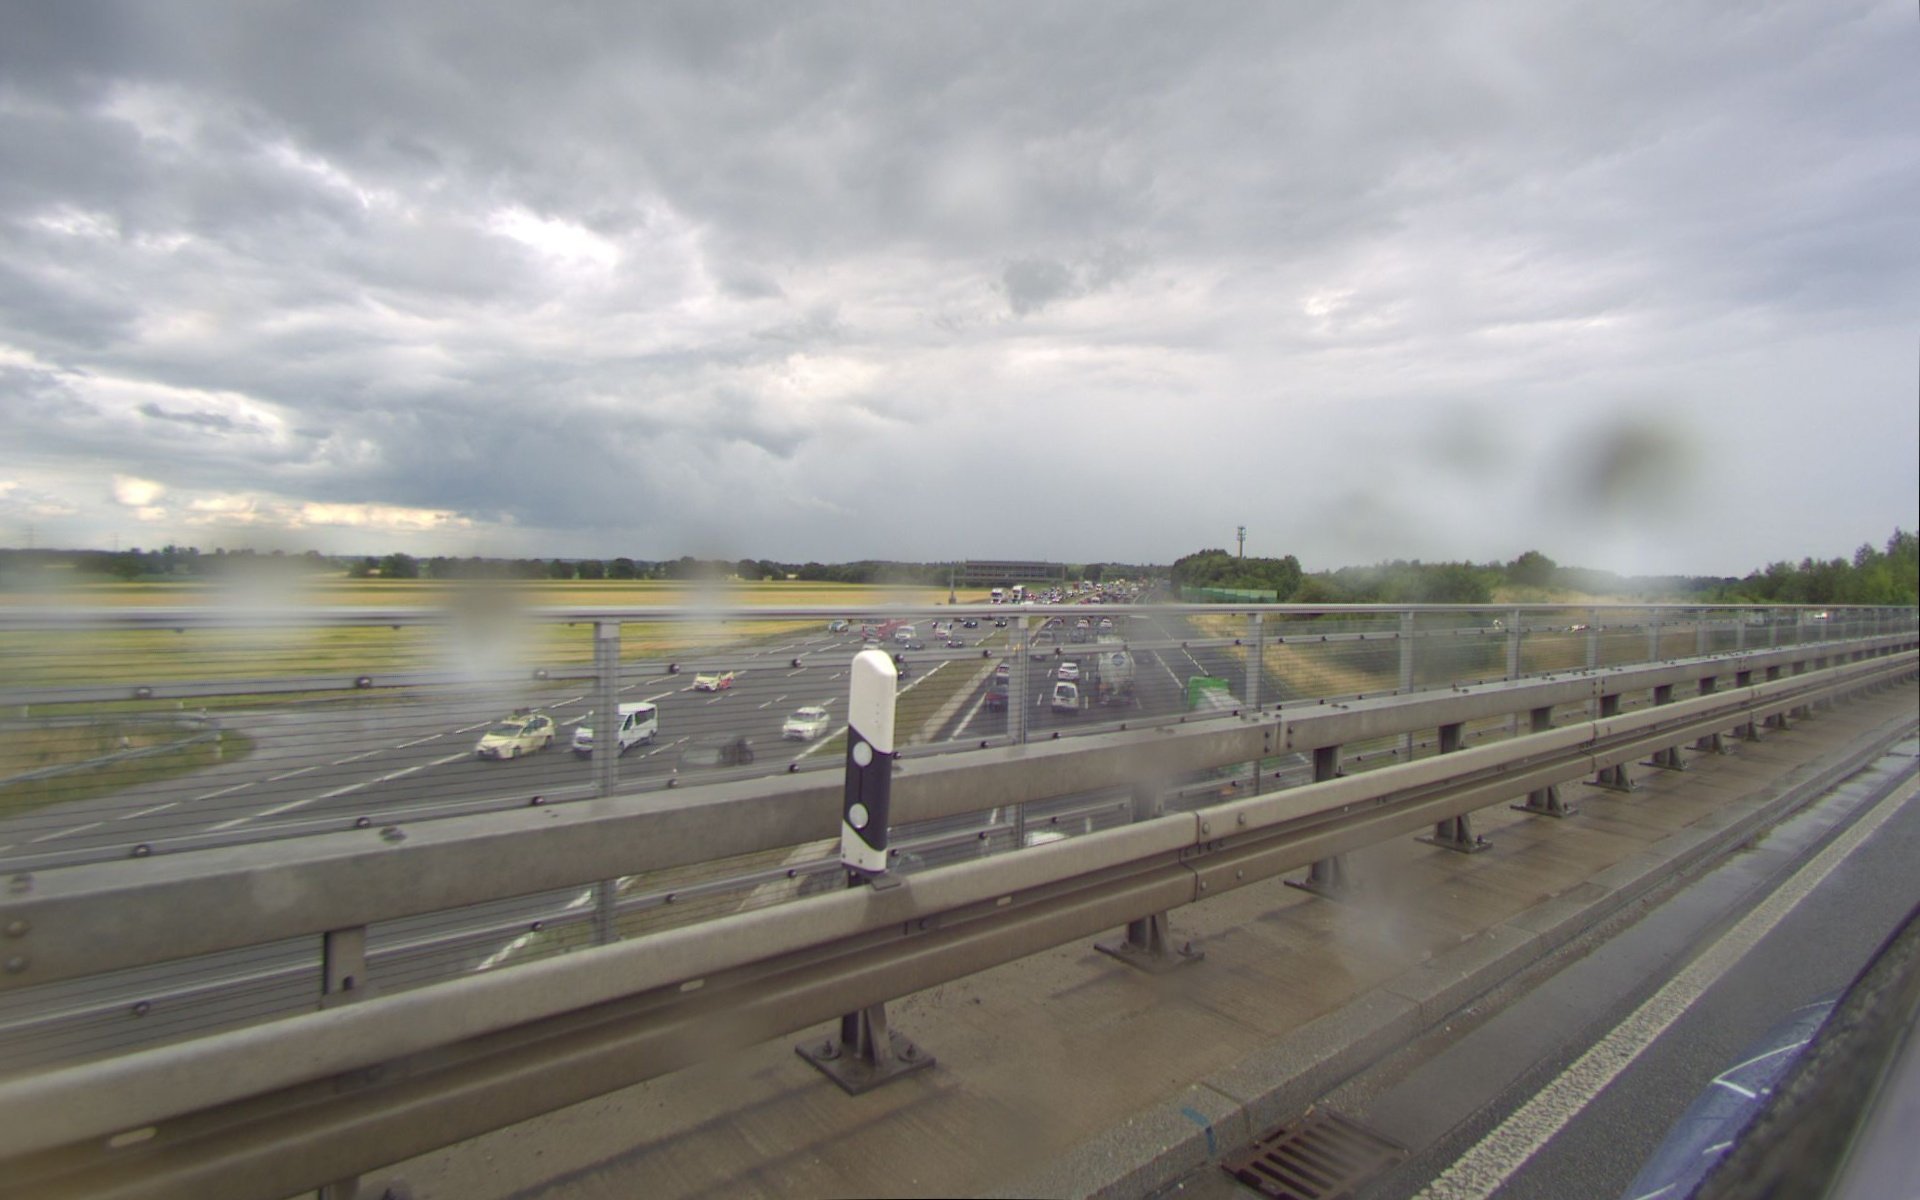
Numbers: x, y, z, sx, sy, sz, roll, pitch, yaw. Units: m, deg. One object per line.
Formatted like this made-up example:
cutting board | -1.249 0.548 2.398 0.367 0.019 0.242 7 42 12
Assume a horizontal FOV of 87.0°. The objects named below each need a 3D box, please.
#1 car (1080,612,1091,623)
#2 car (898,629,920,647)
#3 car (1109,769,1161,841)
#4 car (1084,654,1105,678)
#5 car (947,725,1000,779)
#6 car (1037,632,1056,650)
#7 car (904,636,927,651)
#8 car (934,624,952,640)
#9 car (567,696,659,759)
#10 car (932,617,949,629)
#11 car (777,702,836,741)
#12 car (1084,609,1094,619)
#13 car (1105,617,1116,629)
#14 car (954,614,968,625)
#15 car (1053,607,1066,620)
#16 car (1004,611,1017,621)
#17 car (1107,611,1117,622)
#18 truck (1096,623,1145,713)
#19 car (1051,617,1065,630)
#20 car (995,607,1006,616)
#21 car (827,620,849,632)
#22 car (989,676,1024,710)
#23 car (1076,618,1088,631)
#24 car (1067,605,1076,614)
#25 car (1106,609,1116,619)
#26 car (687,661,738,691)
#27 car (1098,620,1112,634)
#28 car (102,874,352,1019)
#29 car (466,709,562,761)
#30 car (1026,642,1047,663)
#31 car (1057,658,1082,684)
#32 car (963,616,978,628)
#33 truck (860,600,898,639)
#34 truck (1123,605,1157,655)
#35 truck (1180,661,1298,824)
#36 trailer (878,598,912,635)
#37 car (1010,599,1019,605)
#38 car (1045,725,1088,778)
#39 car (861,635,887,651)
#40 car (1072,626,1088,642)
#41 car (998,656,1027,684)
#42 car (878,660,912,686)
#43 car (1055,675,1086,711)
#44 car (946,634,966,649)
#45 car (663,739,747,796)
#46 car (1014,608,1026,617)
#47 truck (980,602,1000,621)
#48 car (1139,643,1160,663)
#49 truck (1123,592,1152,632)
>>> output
car | 21.888 2.981 176.426 1.826 1.796 4.713 0 1 9
car | -6.164 4.596 122.573 1.784 1.907 4.715 0 1 7
car | 6.676 7.800 38.958 1.826 1.690 4.713 0 1 9
car | 12.290 6.008 92.370 1.826 1.796 4.713 0 1 9
car | 0.673 6.881 46.208 1.826 1.690 4.713 0 1 9
car | 9.826 4.672 114.641 1.826 1.796 4.713 0 1 9
car | -4.964 4.827 113.279 1.784 1.454 4.715 0 1 7
car | -2.217 4.154 133.237 1.784 1.870 4.715 0 1 7
car | -16.699 6.099 48.991 1.966 2.248 5.544 0 1 7
car | -2.936 3.455 154.705 1.784 1.690 4.714 0 1 8
car | -8.373 6.628 55.688 1.786 1.504 4.710 0 1 11
car | 25.618 2.827 201.016 1.826 1.796 4.713 0 1 9
car | 24.202 3.685 162.798 1.826 1.796 4.713 0 1 9
car | 0.192 3.363 174.261 1.784 1.690 4.714 0 1 8
car | 16.907 2.313 172.105 1.965 2.039 3.994 -3 0 6
car | 9.367 2.994 187.465 1.826 1.690 4.713 0 1 9
car | 27.597 2.924 183.504 1.826 1.796 4.713 0 1 9
truck | 11.909 4.770 76.148 3.241 5.510 15.596 0 1 8
car | 15.011 3.643 154.963 1.826 1.796 4.713 0 1 9
car | 8.172 2.386 206.276 1.784 1.690 4.714 0 1 8
car | -16.542 3.546 137.455 1.784 1.454 4.715 0 1 7
car | 3.050 5.969 65.543 1.826 1.690 4.713 0 1 9
car | 18.995 3.782 157.302 1.826 1.796 4.713 0 1 9
car | 22.992 1.937 208.706 1.826 1.796 4.713 0 1 9
car | 29.945 2.723 200.480 1.826 1.796 4.713 0 1 9
car | -17.647 5.398 72.472 1.785 1.690 4.710 0 1 11
car | 20.976 3.935 146.296 1.826 1.796 4.713 0 1 9
car | -16.076 7.550 22.562 1.784 1.504 4.715 0 1 7
car | -20.704 6.231 47.225 1.785 1.690 4.710 0 1 11
car | 7.761 5.261 102.208 1.826 1.796 4.713 0 1 9
car | 9.070 5.841 83.706 1.826 1.796 4.713 0 1 9
car | 1.617 3.467 159.924 1.784 1.690 4.714 0 1 8
truck | -10.144 2.381 127.698 2.641 4.684 9.732 0 1 8
truck | 21.852 3.494 123.364 3.434 5.419 15.596 0 1 8
truck | 12.585 6.017 47.367 3.241 5.229 15.596 0 1 8
trailer | -8.776 2.160 137.372 2.641 4.687 9.887 0 1 8
car | 14.062 0.498 260.249 1.826 1.690 4.713 0 1 9
car | 5.045 7.019 47.454 1.826 1.690 4.713 0 1 9
car | -9.089 4.547 107.690 1.784 1.454 4.715 0 1 7
car | 15.194 4.339 128.095 1.826 1.796 4.713 0 1 9
car | 4.187 5.502 79.566 1.826 1.796 4.713 0 1 9
car | -5.403 6.082 84.776 1.785 1.690 4.712 0 1 9
car | 7.219 6.017 65.833 1.826 1.796 4.713 0 1 9
car | -0.417 4.928 120.847 1.784 1.454 4.715 0 1 7
car | -10.519 6.890 42.118 1.784 1.504 4.715 0 1 7
car | 11.952 2.438 201.497 1.826 1.690 4.713 0 1 9
truck | 5.512 2.069 185.680 2.553 3.219 8.375 0 1 9
car | 19.209 5.366 102.751 1.826 1.796 4.713 0 1 9
truck | 25.776 1.578 147.637 3.434 5.419 15.596 0 1 8
